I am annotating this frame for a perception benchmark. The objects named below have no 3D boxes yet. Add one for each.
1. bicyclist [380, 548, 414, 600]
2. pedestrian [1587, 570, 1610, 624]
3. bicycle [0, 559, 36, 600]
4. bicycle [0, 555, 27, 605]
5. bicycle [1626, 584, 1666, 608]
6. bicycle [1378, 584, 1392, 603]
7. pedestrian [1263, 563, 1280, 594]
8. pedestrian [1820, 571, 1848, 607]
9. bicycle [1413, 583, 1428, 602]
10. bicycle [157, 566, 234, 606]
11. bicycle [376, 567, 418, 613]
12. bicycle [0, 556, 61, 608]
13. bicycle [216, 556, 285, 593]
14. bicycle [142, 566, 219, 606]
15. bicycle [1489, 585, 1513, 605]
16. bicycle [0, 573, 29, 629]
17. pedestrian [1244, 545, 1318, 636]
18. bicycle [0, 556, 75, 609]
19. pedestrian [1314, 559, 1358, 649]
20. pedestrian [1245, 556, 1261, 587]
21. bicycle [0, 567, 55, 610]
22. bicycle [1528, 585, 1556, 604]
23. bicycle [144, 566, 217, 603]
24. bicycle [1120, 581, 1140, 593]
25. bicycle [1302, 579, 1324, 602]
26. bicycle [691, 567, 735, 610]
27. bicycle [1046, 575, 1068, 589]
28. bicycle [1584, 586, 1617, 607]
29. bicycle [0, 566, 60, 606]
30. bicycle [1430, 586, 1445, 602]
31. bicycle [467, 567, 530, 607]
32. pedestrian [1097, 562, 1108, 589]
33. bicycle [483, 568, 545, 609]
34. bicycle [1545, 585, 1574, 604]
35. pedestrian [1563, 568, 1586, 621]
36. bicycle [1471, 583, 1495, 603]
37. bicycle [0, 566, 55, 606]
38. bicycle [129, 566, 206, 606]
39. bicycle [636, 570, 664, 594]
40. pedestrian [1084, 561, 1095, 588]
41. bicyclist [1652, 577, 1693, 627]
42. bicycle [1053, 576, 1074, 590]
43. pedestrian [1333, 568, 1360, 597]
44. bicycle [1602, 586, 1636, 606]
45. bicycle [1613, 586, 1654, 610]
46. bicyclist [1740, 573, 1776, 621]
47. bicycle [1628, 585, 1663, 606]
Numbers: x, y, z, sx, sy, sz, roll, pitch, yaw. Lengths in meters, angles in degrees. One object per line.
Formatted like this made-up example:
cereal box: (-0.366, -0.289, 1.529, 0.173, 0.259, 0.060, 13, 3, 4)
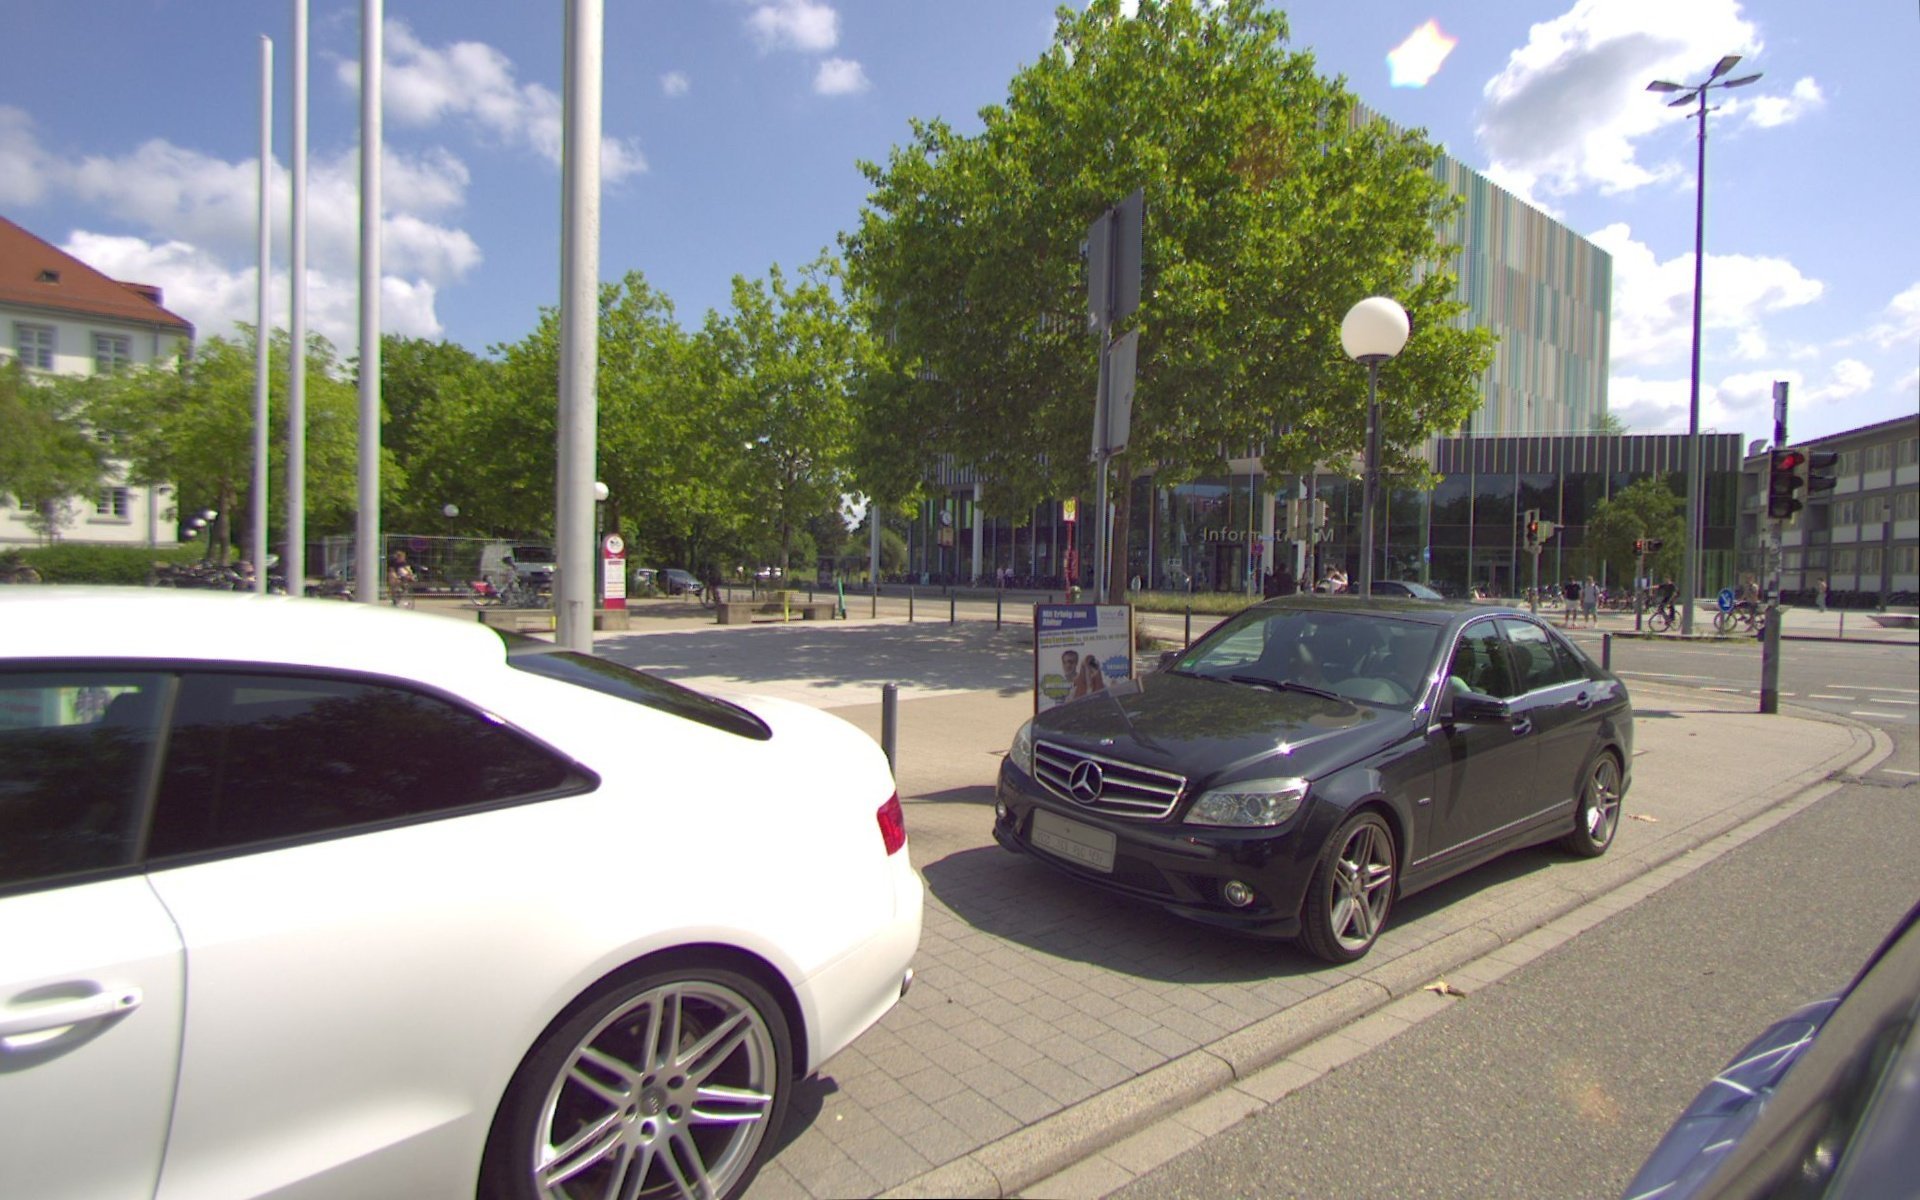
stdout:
bicyclist: (-14.751, -0.685, 26.521, 0.597, 1.337, 0.741, 2, 1, -42)
pedestrian: (22.683, -0.117, 35.947, 0.409, 1.864, 0.574, -1, 2, -44)
bicycle: (-26.685, -0.549, 27.855, 0.596, 1.112, 1.757, 0, 3, 19)
bicycle: (-21.870, -0.437, 22.351, 0.596, 1.112, 1.757, 0, 3, 19)
bicycle: (29.894, -0.193, 44.131, 0.519, 0.967, 1.774, 0, 2, -1)
bicycle: (23.086, -0.372, 55.009, 0.368, 0.967, 1.768, 1, 2, 12)
pedestrian: (18.893, -1.288, 61.326, 0.677, 1.864, 0.679, -1, 2, -31)
pedestrian: (44.326, -0.581, 51.334, 0.833, 1.812, 0.673, 1, 1, 21)
bicycle: (24.741, -0.403, 54.341, 0.525, 0.967, 1.754, 1, 2, 31)
bicycle: (-22.583, -0.420, 29.936, 0.596, 1.112, 1.757, 0, 3, 20)
bicycle: (-14.768, -0.271, 26.527, 0.597, 1.152, 1.585, 2, 1, -42)
bicycle: (-20.982, -0.405, 22.224, 0.596, 1.112, 1.757, 0, 3, 19)
bicycle: (-22.651, -0.825, 32.342, 0.596, 1.112, 1.757, 0, 3, 20)
bicycle: (-23.245, -0.443, 30.201, 0.596, 1.112, 1.757, 0, 3, 20)
bicycle: (28.480, -0.262, 53.299, 0.520, 0.967, 1.770, -2, 2, 7)
bicycle: (-19.602, 0.042, 19.933, 0.596, 1.112, 1.757, 0, 3, 19)
pedestrian: (6.985, -0.215, 22.009, 1.153, 1.842, 0.857, 5, 1, -36)
bicycle: (-20.364, -0.390, 21.878, 0.596, 1.112, 1.757, 0, 3, 19)
pedestrian: (7.811, 0.074, 21.045, 0.598, 1.823, 0.596, 2, 0, -7)
pedestrian: (17.551, -1.707, 60.638, 0.773, 1.864, 0.518, 0, 2, -4)
bicycle: (-25.822, -0.320, 27.476, 0.596, 1.112, 1.757, 0, 3, 19)
bicycle: (30.382, -0.290, 52.849, 0.519, 0.967, 1.772, 1, 2, 5)
bicycle: (-24.641, -0.510, 32.023, 0.585, 1.112, 1.757, 0, 3, 19)
bicycle: (11.291, -0.861, 67.150, 1.518, 0.785, 0.373, -2, 3, -36)
bicycle: (19.395, -0.504, 55.600, 1.520, 1.201, 0.373, -3, 4, -41)
bicycle: (-7.239, -0.361, 29.572, 0.784, 1.197, 2.034, -1, 3, -28)
bicycle: (6.899, -1.267, 71.966, 1.514, 0.967, 0.374, -2, 2, -24)
bicycle: (32.942, -0.188, 52.036, 0.519, 0.967, 1.774, 0, 2, -1)
bicycle: (-27.351, -0.404, 29.357, 0.596, 1.112, 1.757, 0, 3, 19)
bicycle: (25.468, -0.313, 53.991, 0.522, 0.773, 1.763, 1, 2, 18)
bicycle: (-13.516, -0.391, 29.686, 0.596, 1.112, 1.757, 0, 3, 20)
pedestrian: (9.986, -1.708, 70.851, 0.553, 1.864, 0.553, 2, 2, 44)
bicycle: (-12.906, -0.355, 29.345, 0.596, 1.112, 1.757, 0, 3, 20)
bicycle: (31.195, -0.291, 52.671, 0.519, 0.967, 1.772, 1, 2, 5)
pedestrian: (22.249, -0.204, 36.631, 0.629, 1.864, 0.473, 1, 2, 37)
bicycle: (27.612, -0.353, 53.412, 0.520, 0.967, 1.771, 1, 3, 7)
bicycle: (-27.898, -0.423, 29.821, 0.596, 1.112, 1.757, 0, 3, 19)
bicycle: (-23.872, -0.440, 30.522, 0.596, 1.112, 1.757, 0, 3, 20)
bicycle: (-16.258, -0.960, 52.992, 0.628, 1.206, 2.117, 2, 0, -39)
pedestrian: (9.224, -1.828, 72.307, 0.553, 1.864, 0.553, 2, 2, 44)
bicyclist: (24.119, 0.061, 34.268, 0.988, 1.635, 0.652, 1, 1, 23)
bicycle: (7.290, -1.217, 71.398, 1.514, 0.967, 0.374, -2, 2, -24)
pedestrian: (22.617, -1.044, 59.197, 1.161, 1.671, 1.014, 0, 1, -39)
bicycle: (33.600, -0.228, 51.650, 0.519, 0.967, 1.774, 0, 2, -1)
bicycle: (29.349, -0.083, 44.133, 0.519, 0.967, 1.774, 0, 2, -1)
bicyclist: (26.447, -0.120, 33.555, 0.778, 1.557, 0.651, 1, 1, 27)
bicycle: (34.720, -0.230, 51.263, 0.519, 0.967, 1.774, 0, 2, -1)
